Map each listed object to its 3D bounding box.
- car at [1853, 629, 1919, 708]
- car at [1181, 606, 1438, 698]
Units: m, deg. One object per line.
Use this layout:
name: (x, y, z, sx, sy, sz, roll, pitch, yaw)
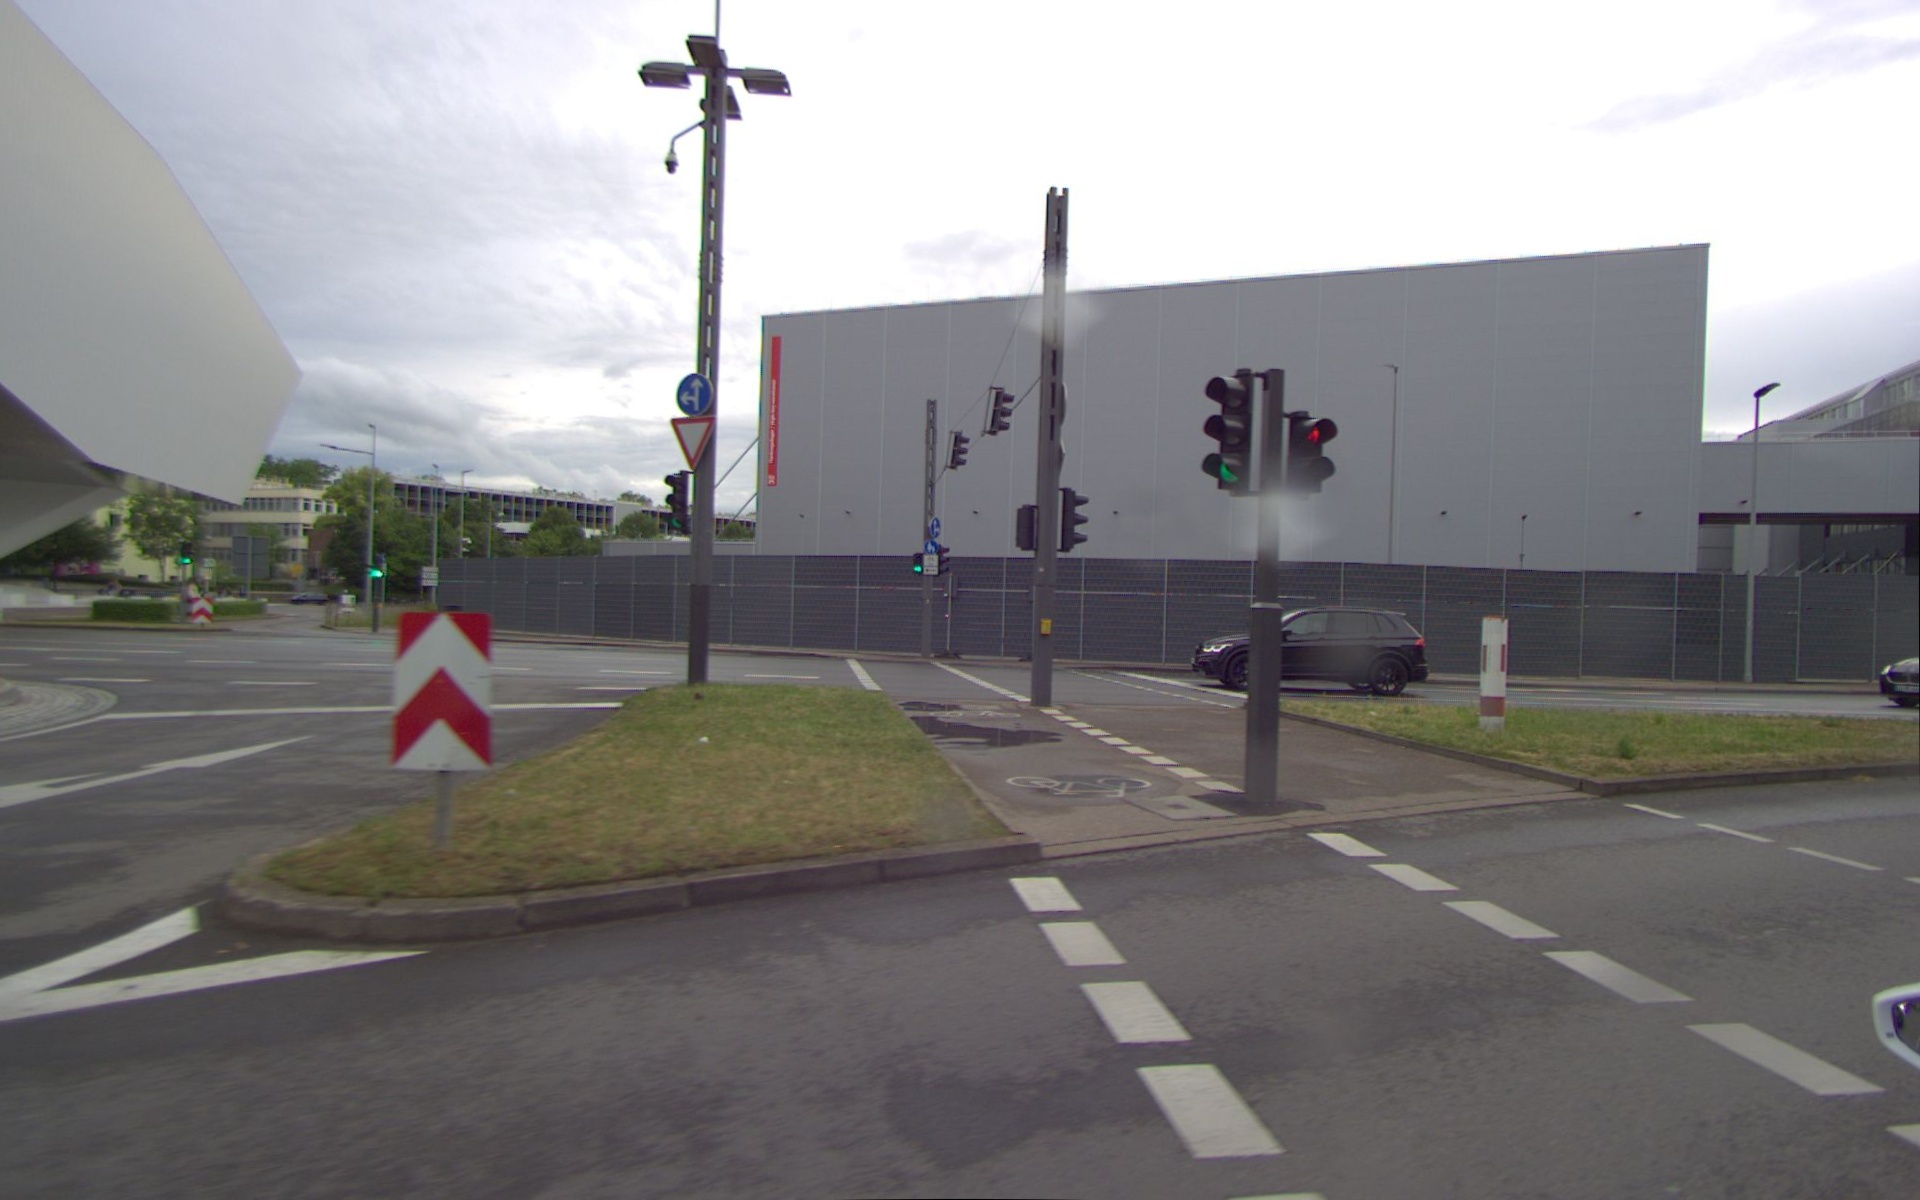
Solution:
car: (20.227, 1.369, 19.604, 4.314, 1.459, 1.786, 1, 0, -7)
car: (6.771, 0.987, 19.855, 4.474, 1.609, 1.789, 1, 0, 5)
